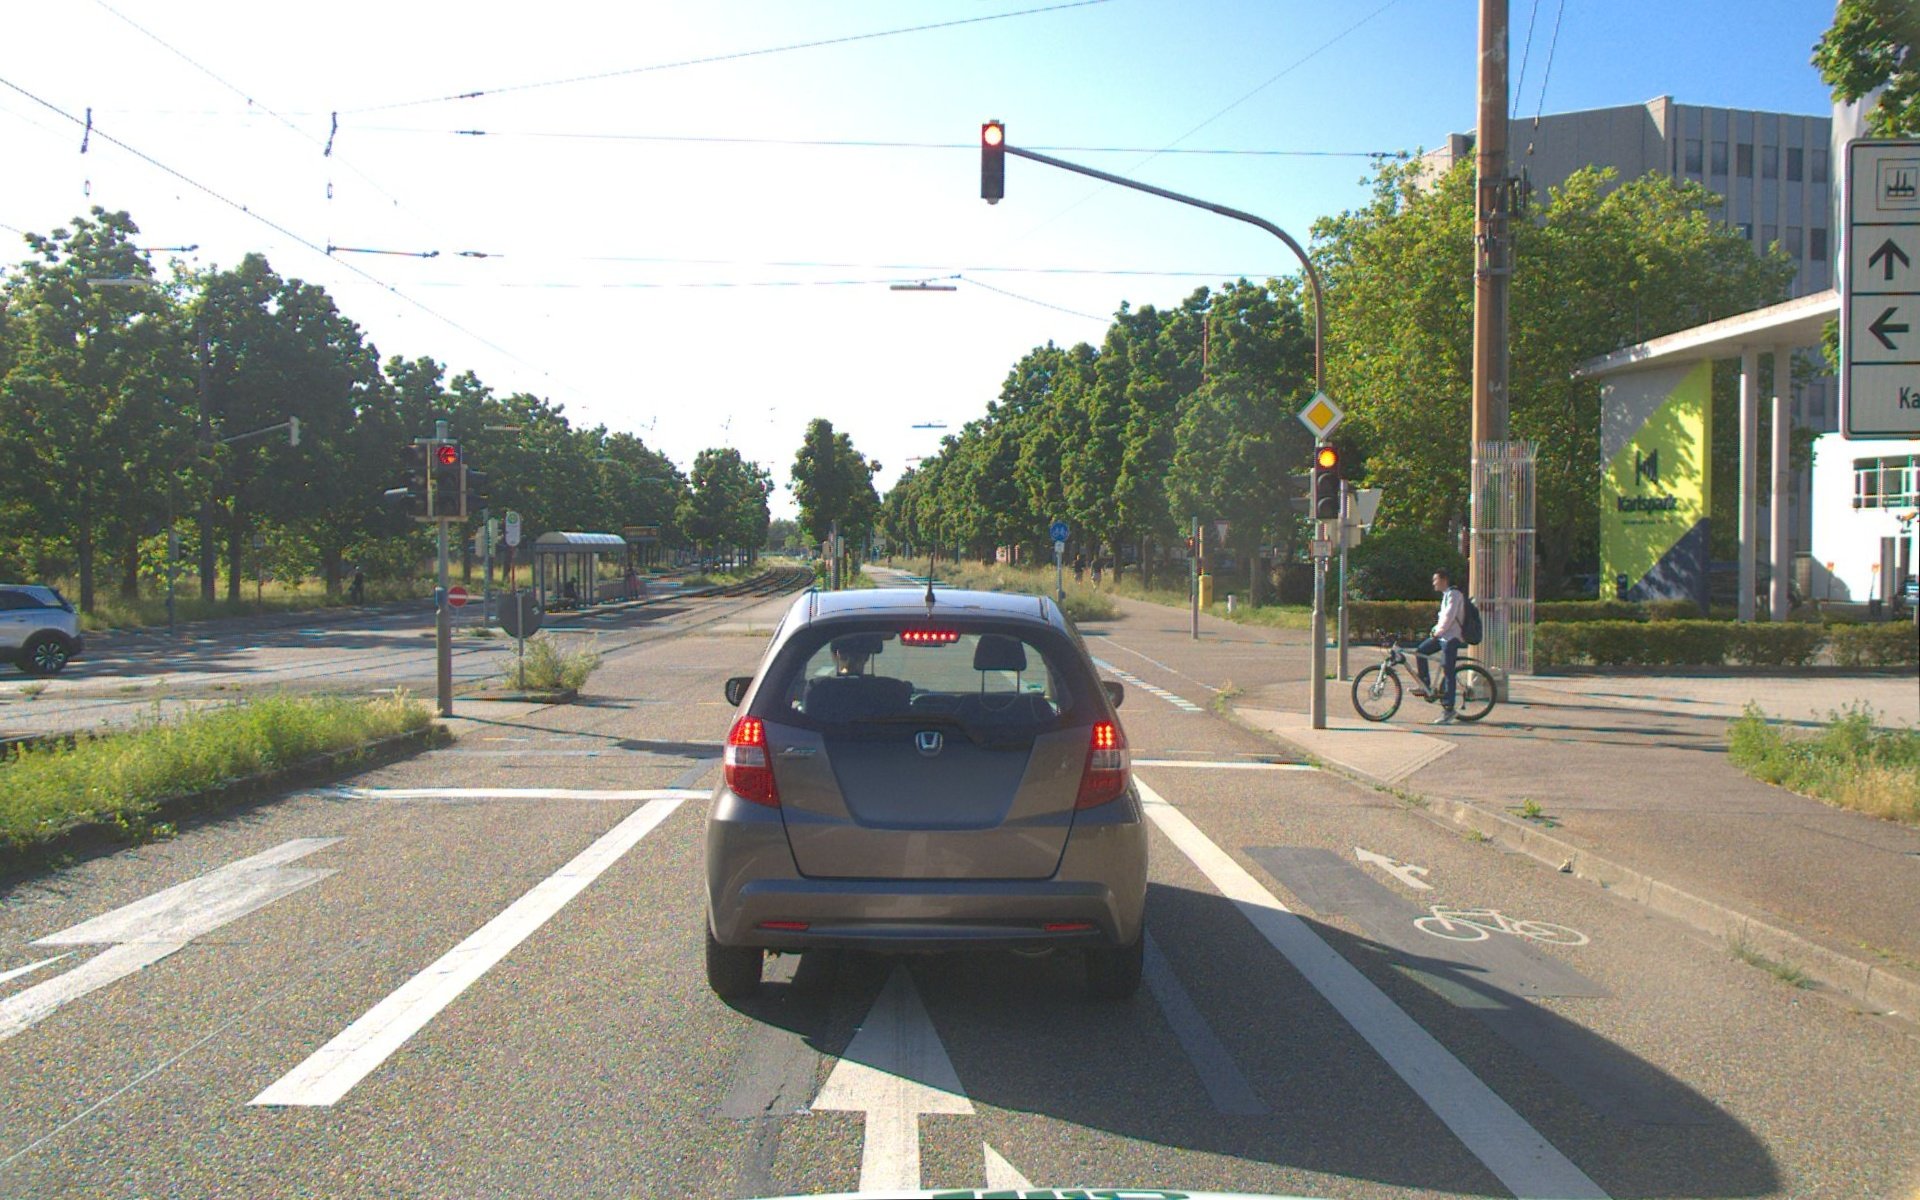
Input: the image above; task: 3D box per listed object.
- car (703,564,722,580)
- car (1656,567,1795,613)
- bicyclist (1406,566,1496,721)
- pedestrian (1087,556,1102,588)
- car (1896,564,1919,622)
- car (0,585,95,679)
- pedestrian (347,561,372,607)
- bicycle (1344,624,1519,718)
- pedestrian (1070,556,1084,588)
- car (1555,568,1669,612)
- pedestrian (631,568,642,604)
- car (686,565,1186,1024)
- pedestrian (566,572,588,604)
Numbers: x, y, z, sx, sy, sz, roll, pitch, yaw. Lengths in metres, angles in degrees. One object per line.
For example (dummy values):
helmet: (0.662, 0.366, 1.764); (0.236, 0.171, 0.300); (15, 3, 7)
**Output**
car: (-27.424, -3.095, 183.389); (1.731, 1.768, 3.998); (0, 0, -3)
car: (28.082, -0.377, 60.693); (4.459, 1.658, 1.870); (0, 0, -14)
bicyclist: (5.761, 0.499, 19.453); (0.890, 1.775, 0.765); (-1, 0, 10)
pedestrian: (6.905, -1.439, 84.887); (0.664, 1.638, 0.720); (1, 0, -3)
car: (31.037, -0.212, 50.549); (3.915, 1.750, 1.895); (0, 1, -10)
car: (-17.856, 0.554, 29.318); (4.212, 1.634, 1.831); (0, 0, -39)
pedestrian: (-27.296, -0.722, 75.178); (0.823, 2.049, 0.863); (0, 0, -3)
bicycle: (5.527, 0.828, 19.491); (1.879, 1.015, 0.765); (-2, 0, 10)
pedestrian: (5.997, -1.444, 84.800); (0.556, 1.624, 0.665); (1, 0, -5)
car: (26.684, -0.411, 67.706); (3.919, 1.788, 1.993); (0, 1, -14)
pedestrian: (-15.621, -0.680, 79.913); (0.493, 1.705, 0.387); (0, 0, -12)
car: (-0.086, 0.646, 7.608); (1.672, 1.535, 4.000); (1, 0, 0)
pedestrian: (-15.131, -0.486, 65.389); (0.706, 1.267, 0.710); (-1, 1, -3)
